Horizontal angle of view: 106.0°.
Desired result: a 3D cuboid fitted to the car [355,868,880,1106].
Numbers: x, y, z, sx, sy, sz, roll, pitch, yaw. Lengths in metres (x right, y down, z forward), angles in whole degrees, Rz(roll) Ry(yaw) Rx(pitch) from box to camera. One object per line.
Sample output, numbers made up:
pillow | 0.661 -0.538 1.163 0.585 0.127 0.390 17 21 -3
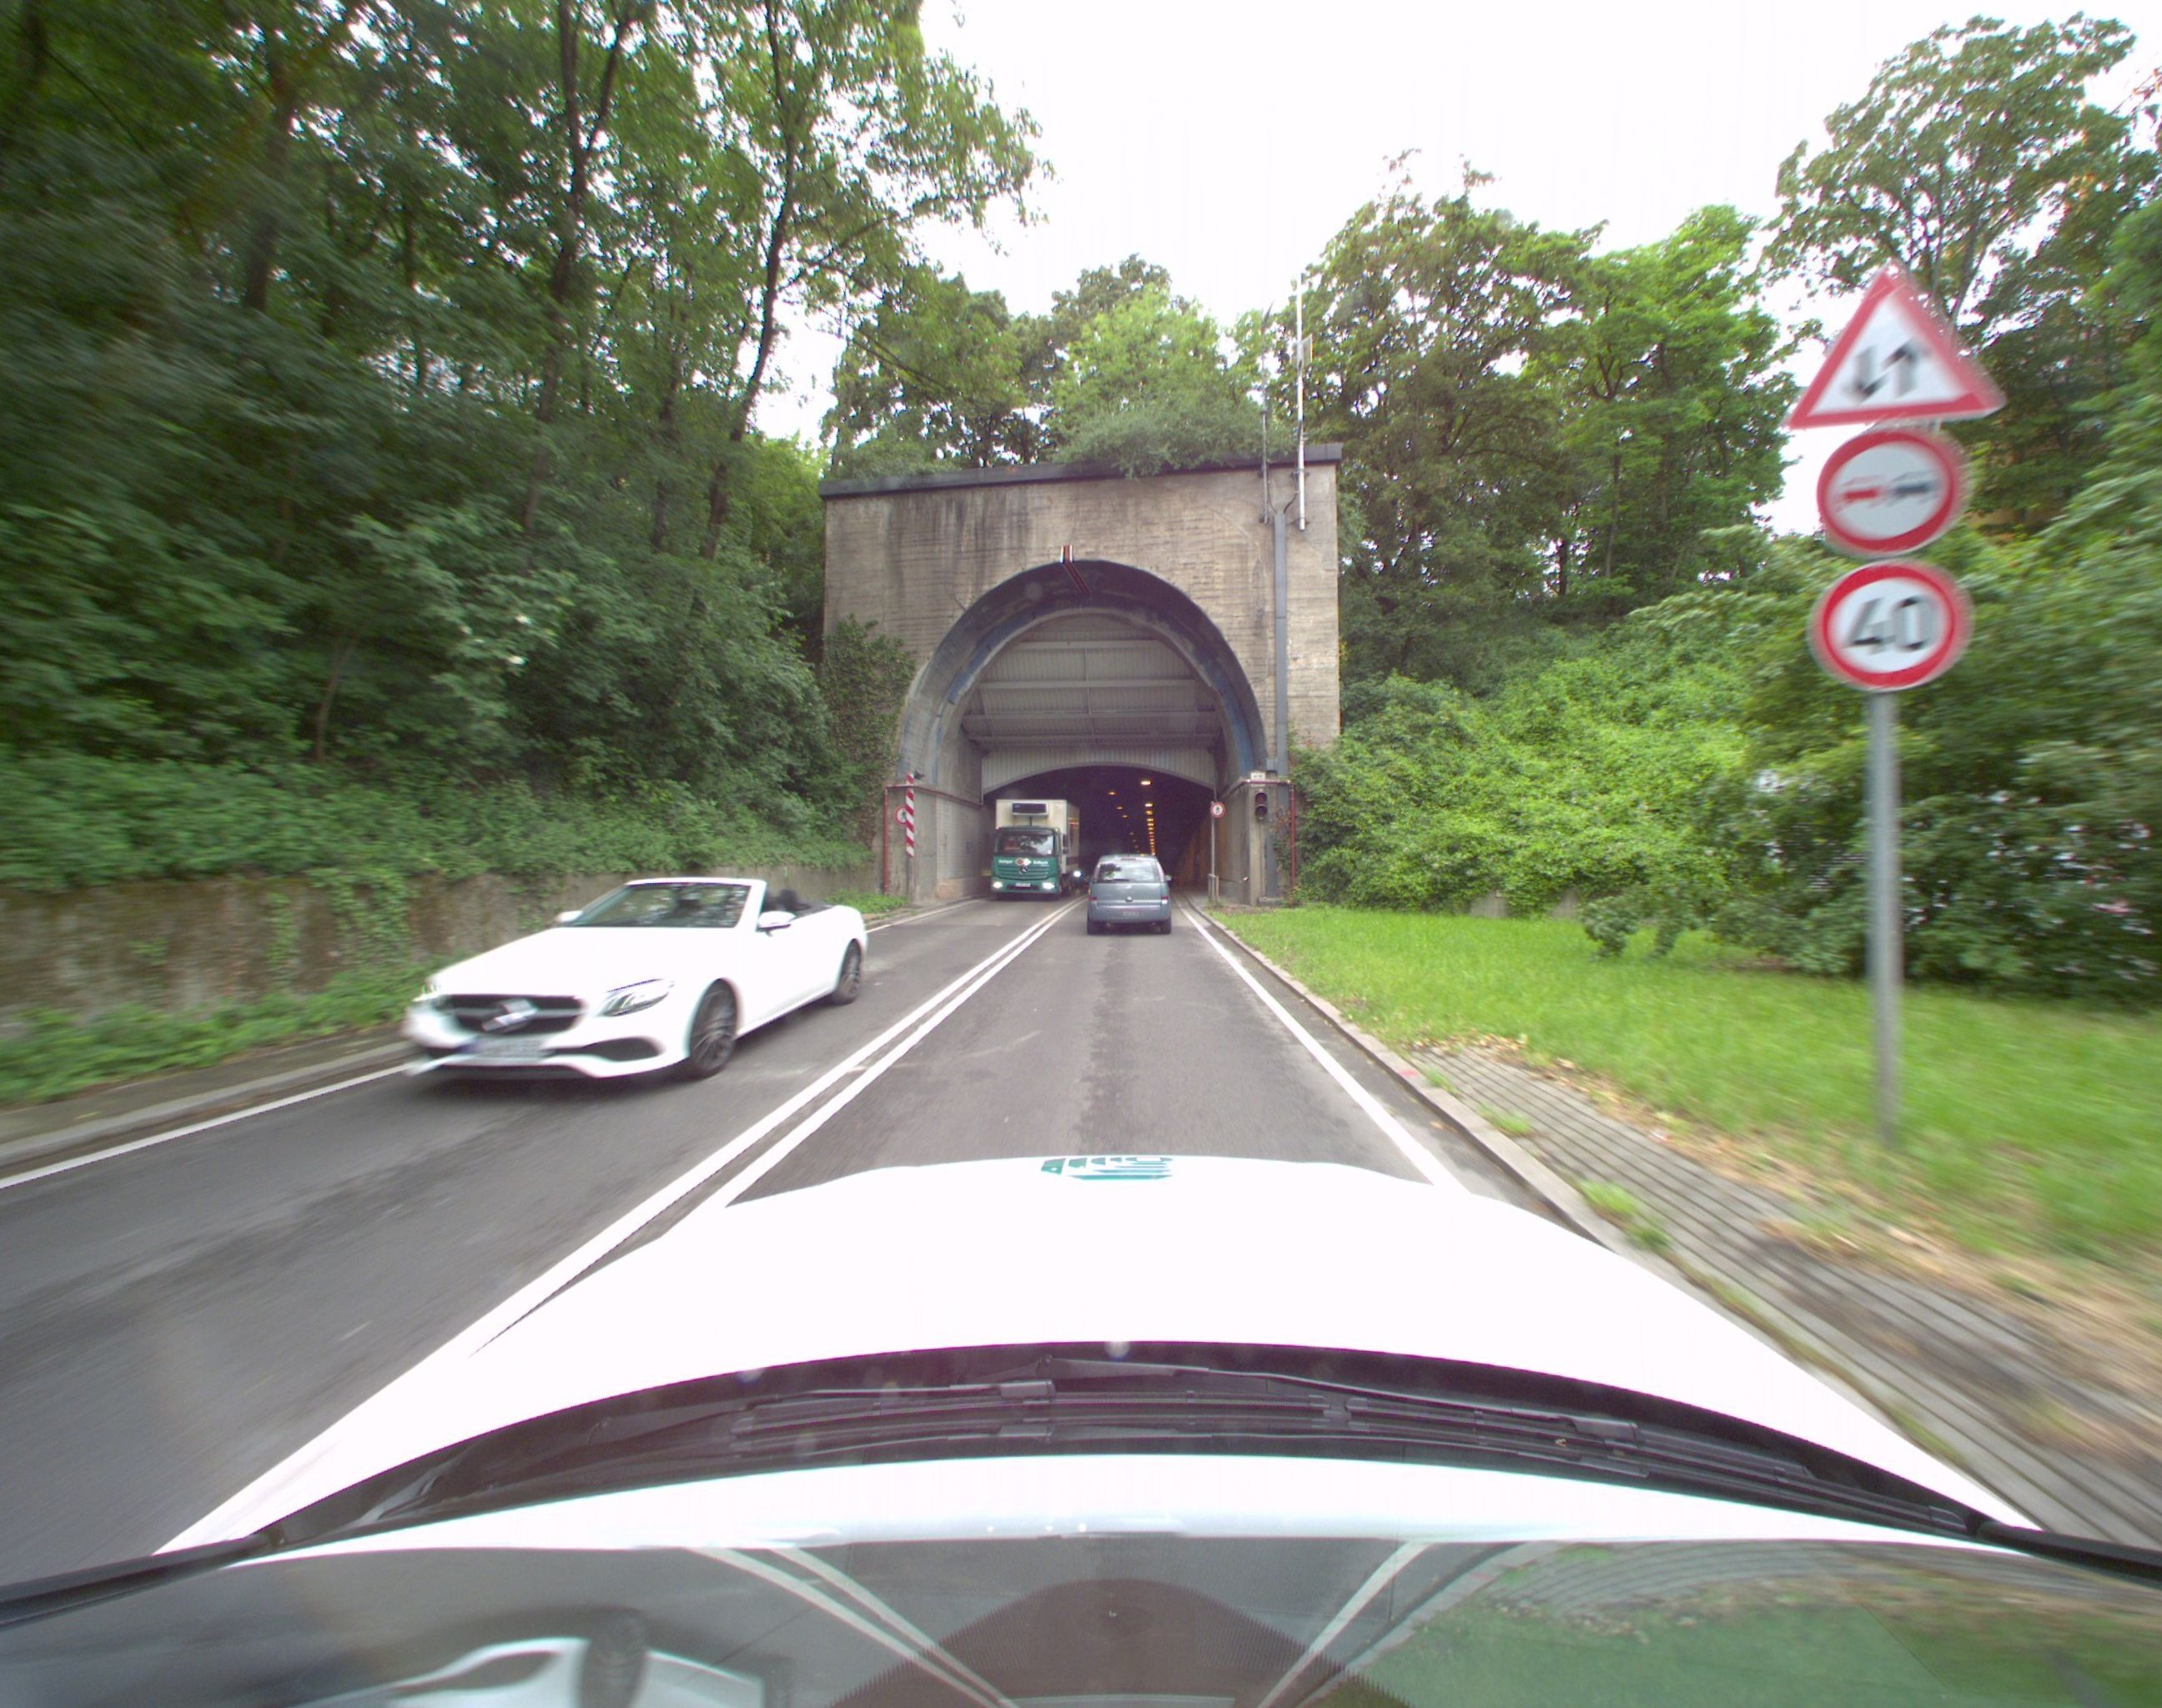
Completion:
car | -3.399 0.856 7.199 1.860 1.371 4.460 -1 0 3

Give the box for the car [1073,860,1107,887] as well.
car | 0.604 1.234 52.277 1.870 1.676 4.383 0 -1 5

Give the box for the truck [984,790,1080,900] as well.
truck | -1.656 -0.275 31.026 2.663 3.667 7.526 0 0 4

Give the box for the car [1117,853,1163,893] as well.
car | 2.842 0.863 38.719 1.983 1.653 4.008 -1 1 6

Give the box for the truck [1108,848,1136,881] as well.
truck | 5.017 1.346 99.162 2.798 3.717 7.559 -1 -4 8

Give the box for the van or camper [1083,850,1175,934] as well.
van or camper | 1.045 0.746 17.438 1.727 1.578 3.650 -1 -1 4
